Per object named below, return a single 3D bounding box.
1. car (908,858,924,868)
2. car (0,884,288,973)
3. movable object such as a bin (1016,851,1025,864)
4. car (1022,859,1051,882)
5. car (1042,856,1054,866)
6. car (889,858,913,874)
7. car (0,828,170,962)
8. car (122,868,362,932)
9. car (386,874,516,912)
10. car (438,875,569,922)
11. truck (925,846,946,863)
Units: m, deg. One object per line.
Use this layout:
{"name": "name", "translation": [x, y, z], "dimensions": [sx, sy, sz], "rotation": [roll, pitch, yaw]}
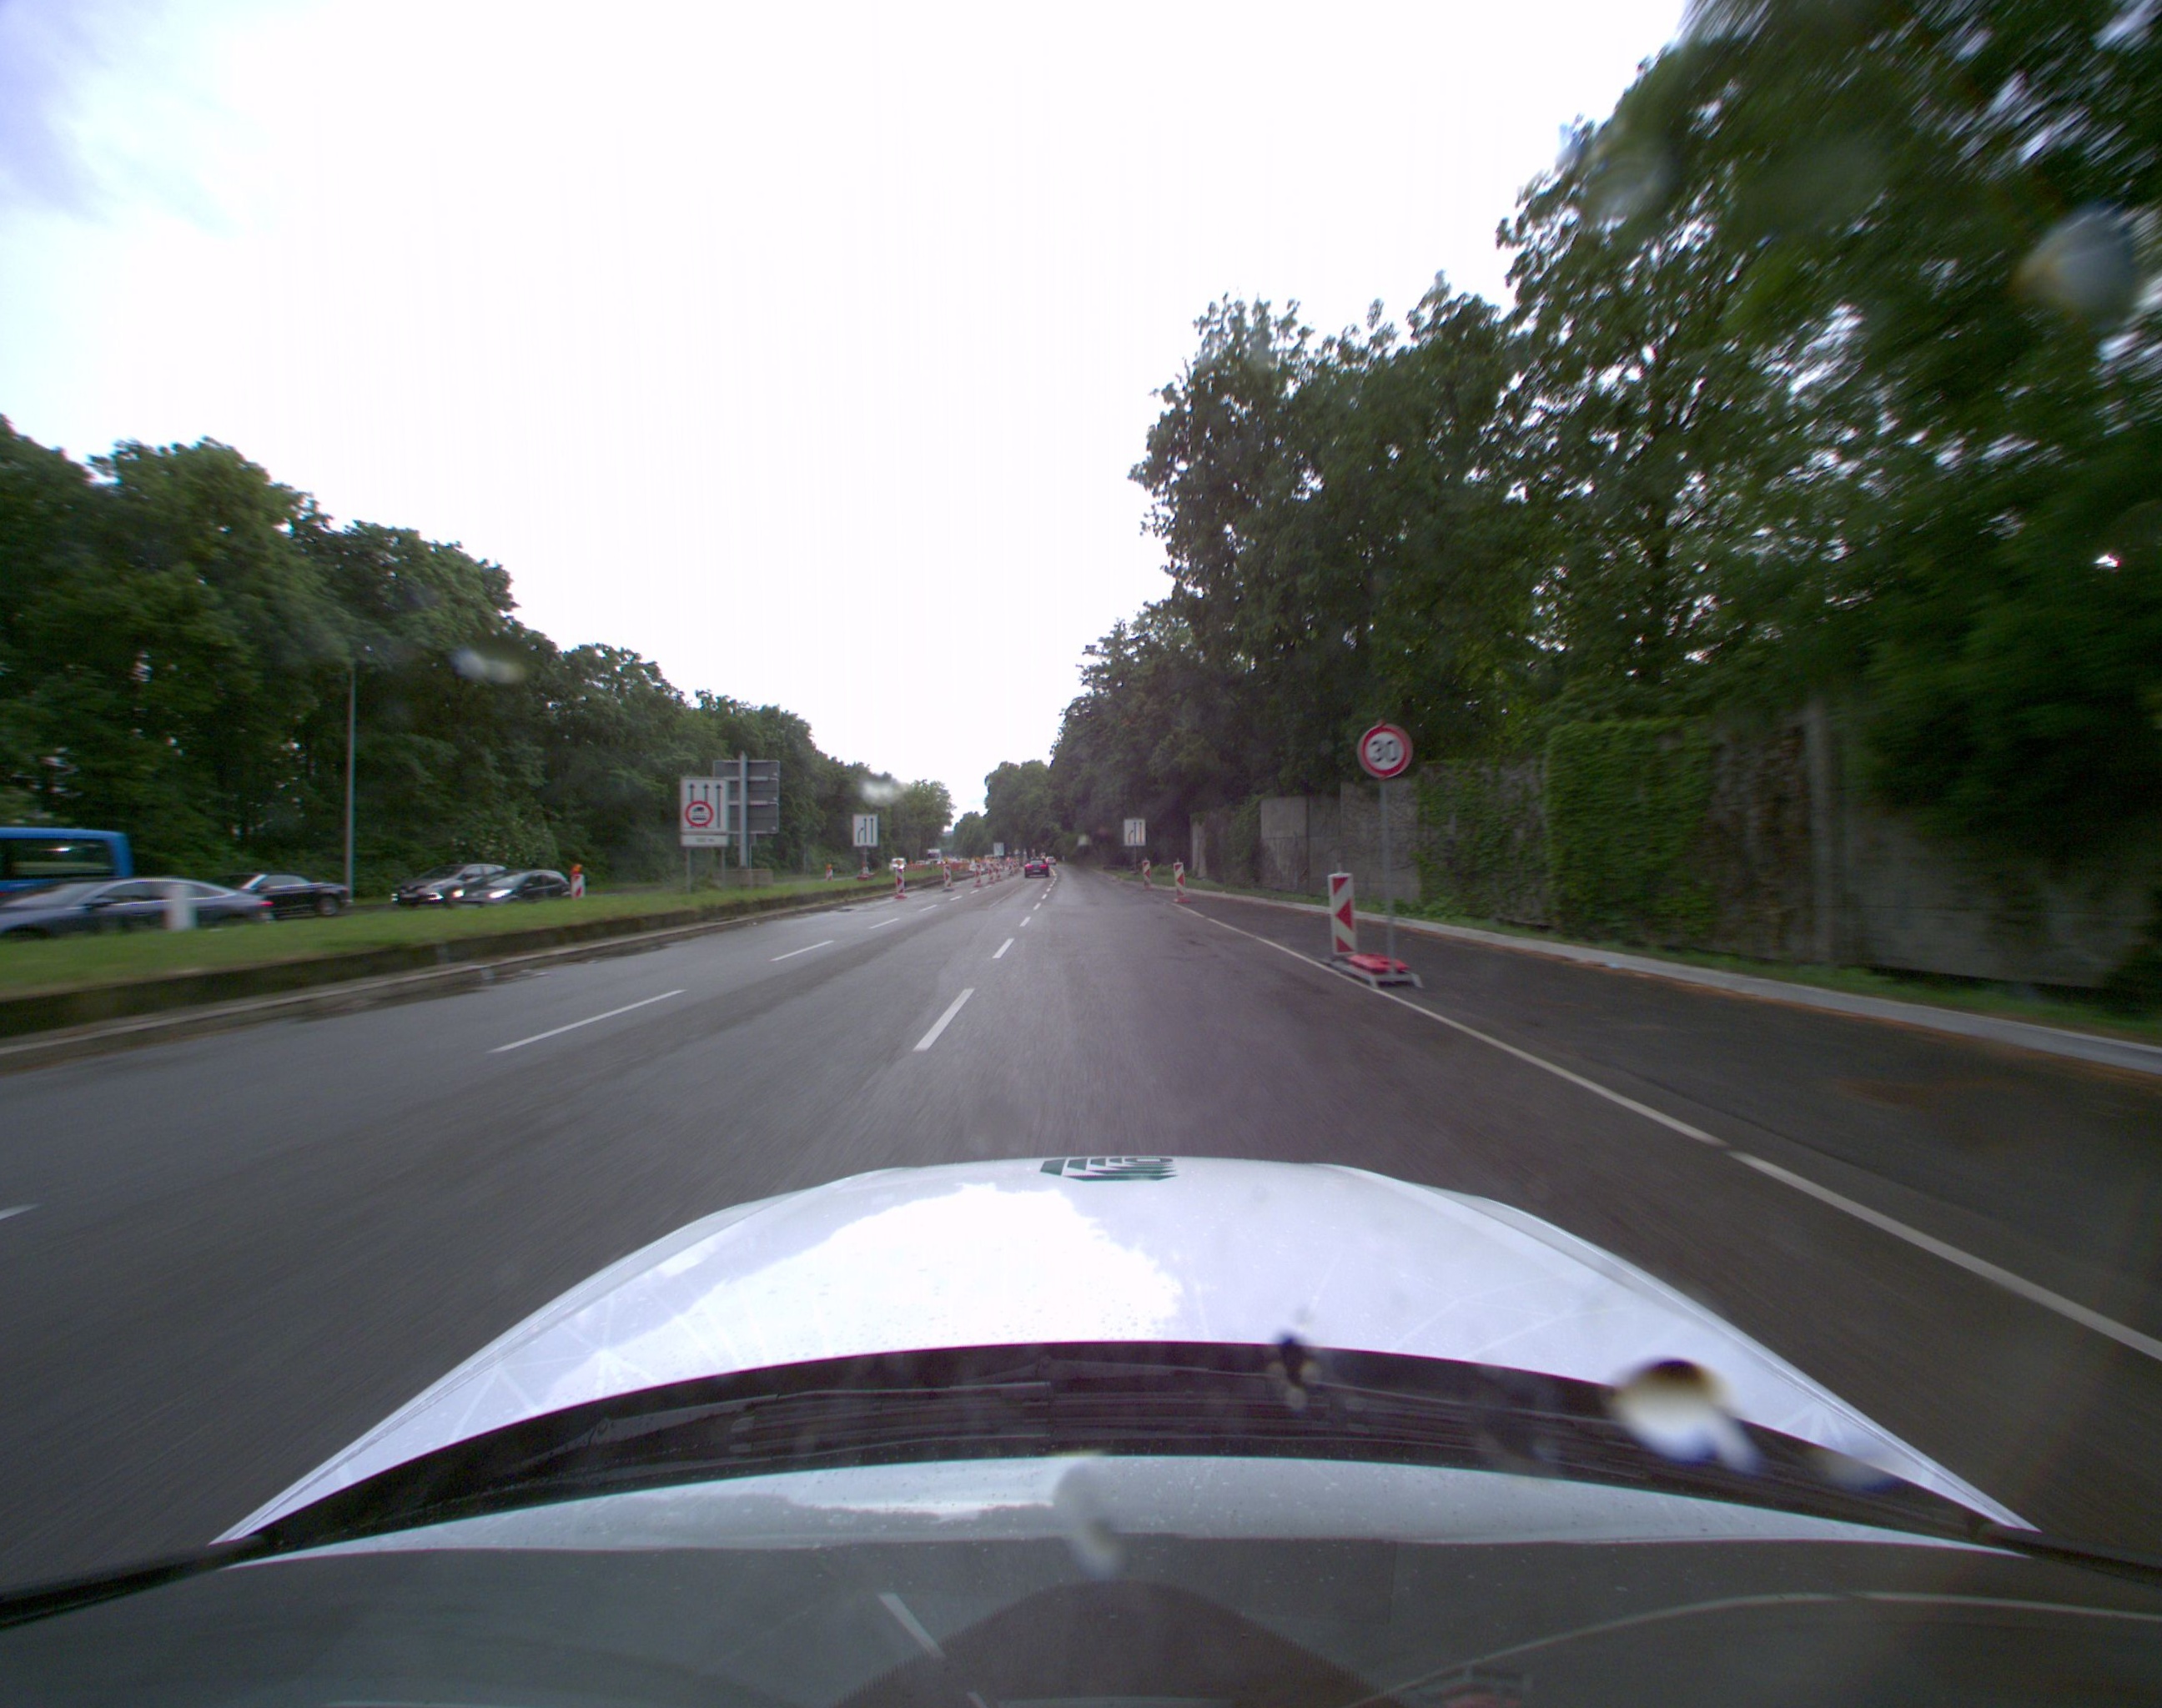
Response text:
{"name": "car", "translation": [-25.695, 1.422, 127.088], "dimensions": [1.786, 1.425, 3.893], "rotation": [-2, 0, -2]}
{"name": "car", "translation": [-16.904, 1.205, 14.089], "dimensions": [1.541, 1.200, 4.653], "rotation": [-1, 0, 5]}
{"name": "movable object such as a bin", "translation": [-13.765, 0.784, 184.020], "dimensions": [1.745, 2.867, 3.525], "rotation": [-2, 0, -8]}
{"name": "car", "translation": [-3.413, 1.250, 62.853], "dimensions": [1.855, 1.491, 4.003], "rotation": [0, 2, 2]}
{"name": "car", "translation": [-5.787, 1.141, 142.550], "dimensions": [1.912, 1.598, 4.823], "rotation": [-1, 1, -6]}
{"name": "car", "translation": [-21.692, 1.446, 98.319], "dimensions": [1.909, 1.781, 4.830], "rotation": [-1, 1, -2]}
{"name": "car", "translation": [-20.402, 0.739, 14.058], "dimensions": [2.187, 2.390, 6.246], "rotation": [0, 1, 2]}
{"name": "car", "translation": [-23.104, 1.200, 22.752], "dimensions": [1.786, 1.523, 4.637], "rotation": [-1, 0, 2]}
{"name": "car", "translation": [-22.692, 1.360, 29.536], "dimensions": [1.543, 1.200, 3.932], "rotation": [-1, 0, 2]}
{"name": "car", "translation": [-16.983, 1.270, 24.131], "dimensions": [1.424, 1.200, 3.302], "rotation": [-1, 0, 2]}
{"name": "truck", "translation": [-28.702, 0.133, 161.140], "dimensions": [2.789, 3.148, 10.136], "rotation": [-1, 0, -3]}
